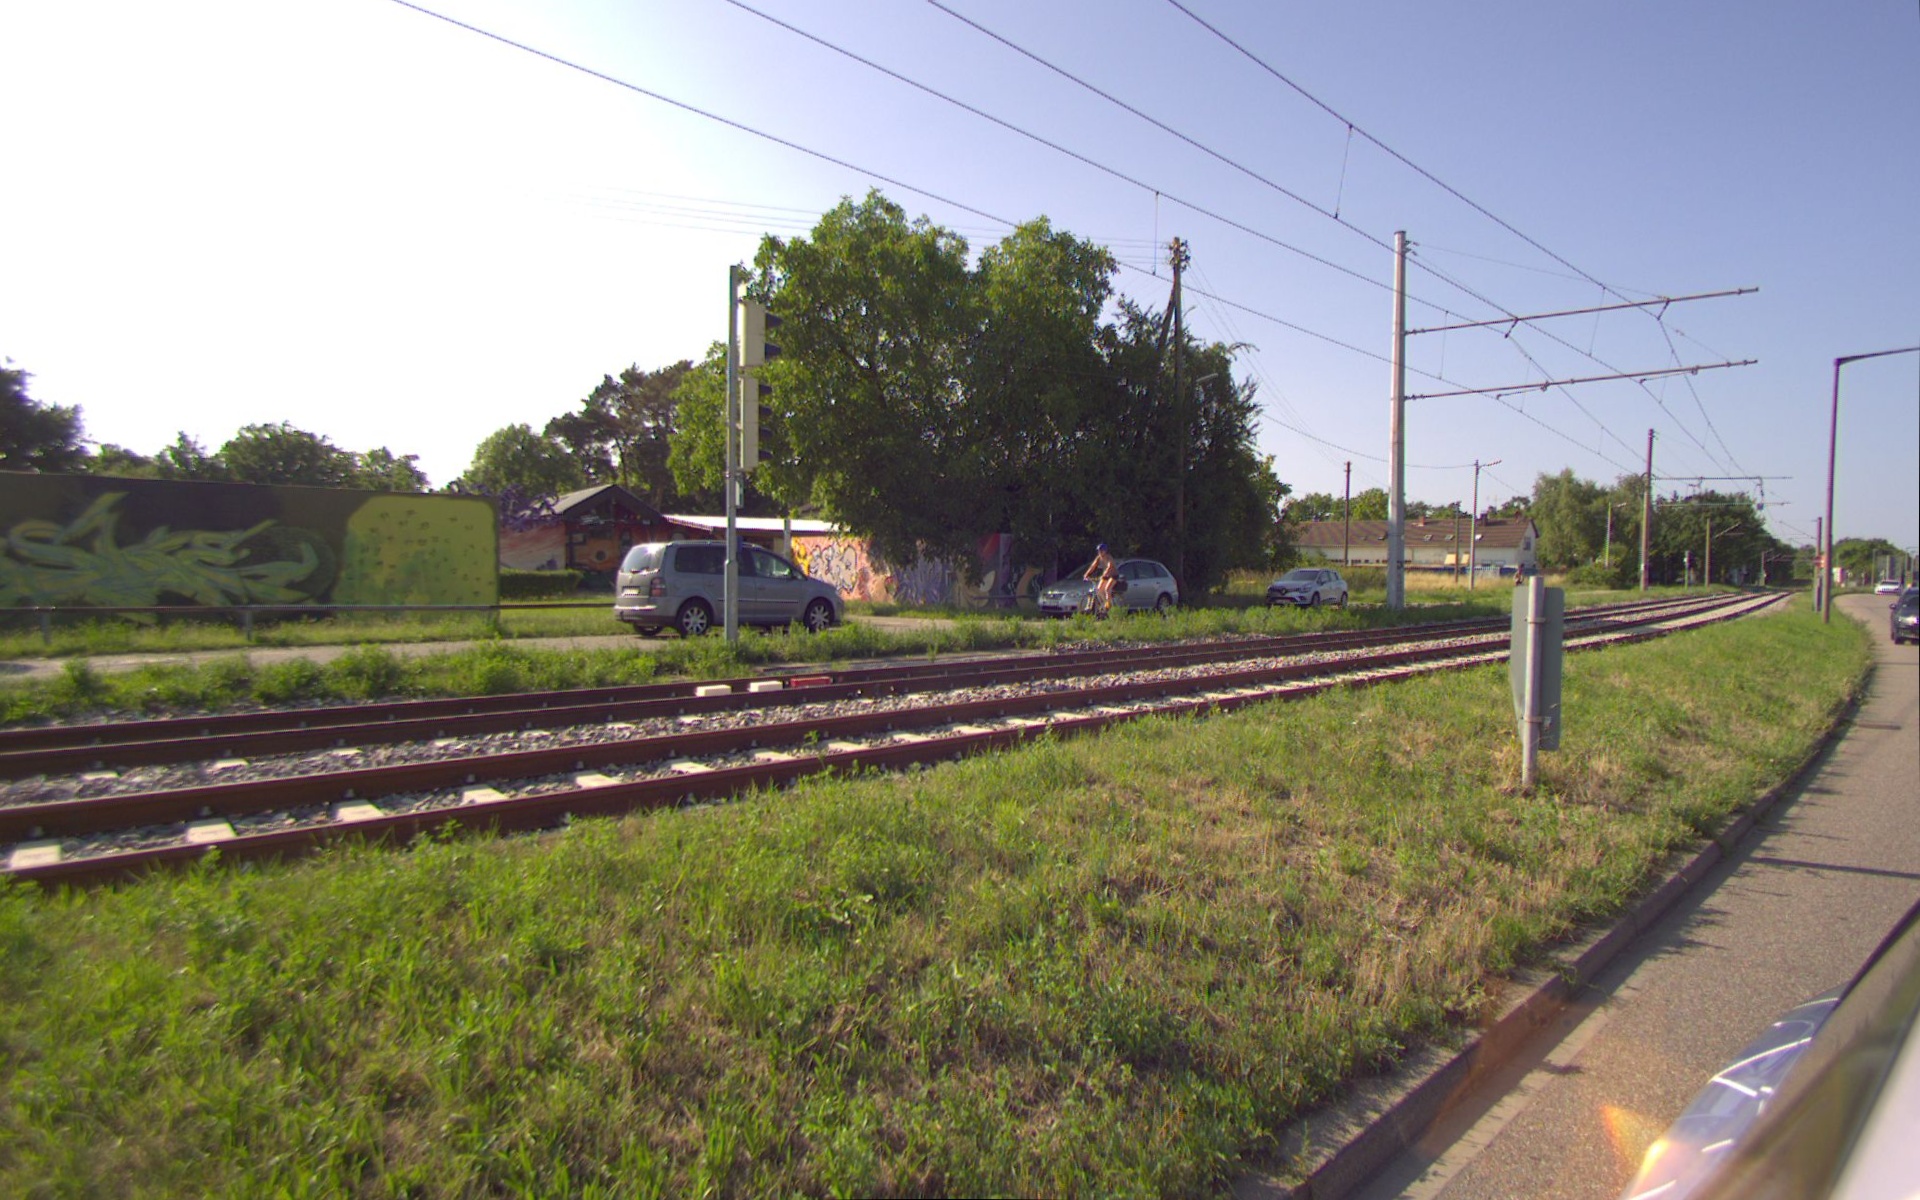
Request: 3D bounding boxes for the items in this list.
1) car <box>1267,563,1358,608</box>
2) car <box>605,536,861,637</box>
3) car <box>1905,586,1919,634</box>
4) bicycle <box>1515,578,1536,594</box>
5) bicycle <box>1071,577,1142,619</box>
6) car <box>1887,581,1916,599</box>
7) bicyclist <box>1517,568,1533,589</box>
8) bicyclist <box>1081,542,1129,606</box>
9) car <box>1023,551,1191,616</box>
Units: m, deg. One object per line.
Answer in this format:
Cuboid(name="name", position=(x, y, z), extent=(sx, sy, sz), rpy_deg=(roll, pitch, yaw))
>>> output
Cuboid(name="car", position=(12.459, -0.526, 35.629), extent=(1.533, 1.466, 4.069), rpy_deg=(3, 2, 42))
Cuboid(name="car", position=(-3.983, -0.270, 18.333), extent=(1.522, 1.630, 4.413), rpy_deg=(3, 3, 43))
Cuboid(name="car", position=(29.032, 0.260, 29.663), extent=(1.843, 1.372, 4.087), rpy_deg=(0, 0, 45))
Cuboid(name="bicycle", position=(33.863, -0.829, 60.609), extent=(0.643, 0.921, 1.785), rpy_deg=(1, 1, 44))
Cuboid(name="bicycle", position=(3.373, -0.054, 23.249), extent=(1.813, 0.921, 0.643), rpy_deg=(-1, 1, -44))
Cuboid(name="car", position=(88.383, -0.966, 95.041), extent=(1.963, 1.639, 4.242), rpy_deg=(2, 2, 43))
Cuboid(name="bicyclist", position=(33.851, -1.294, 60.599), extent=(0.639, 1.248, 0.779), rpy_deg=(1, 1, 44))
Cuboid(name="bicyclist", position=(3.327, -0.589, 23.199), extent=(0.946, 1.440, 0.630), rpy_deg=(-1, 1, -44))
Cuboid(name="car", position=(4.000, -0.455, 27.142), extent=(4.645, 1.610, 1.911), rpy_deg=(0, 2, -42))
